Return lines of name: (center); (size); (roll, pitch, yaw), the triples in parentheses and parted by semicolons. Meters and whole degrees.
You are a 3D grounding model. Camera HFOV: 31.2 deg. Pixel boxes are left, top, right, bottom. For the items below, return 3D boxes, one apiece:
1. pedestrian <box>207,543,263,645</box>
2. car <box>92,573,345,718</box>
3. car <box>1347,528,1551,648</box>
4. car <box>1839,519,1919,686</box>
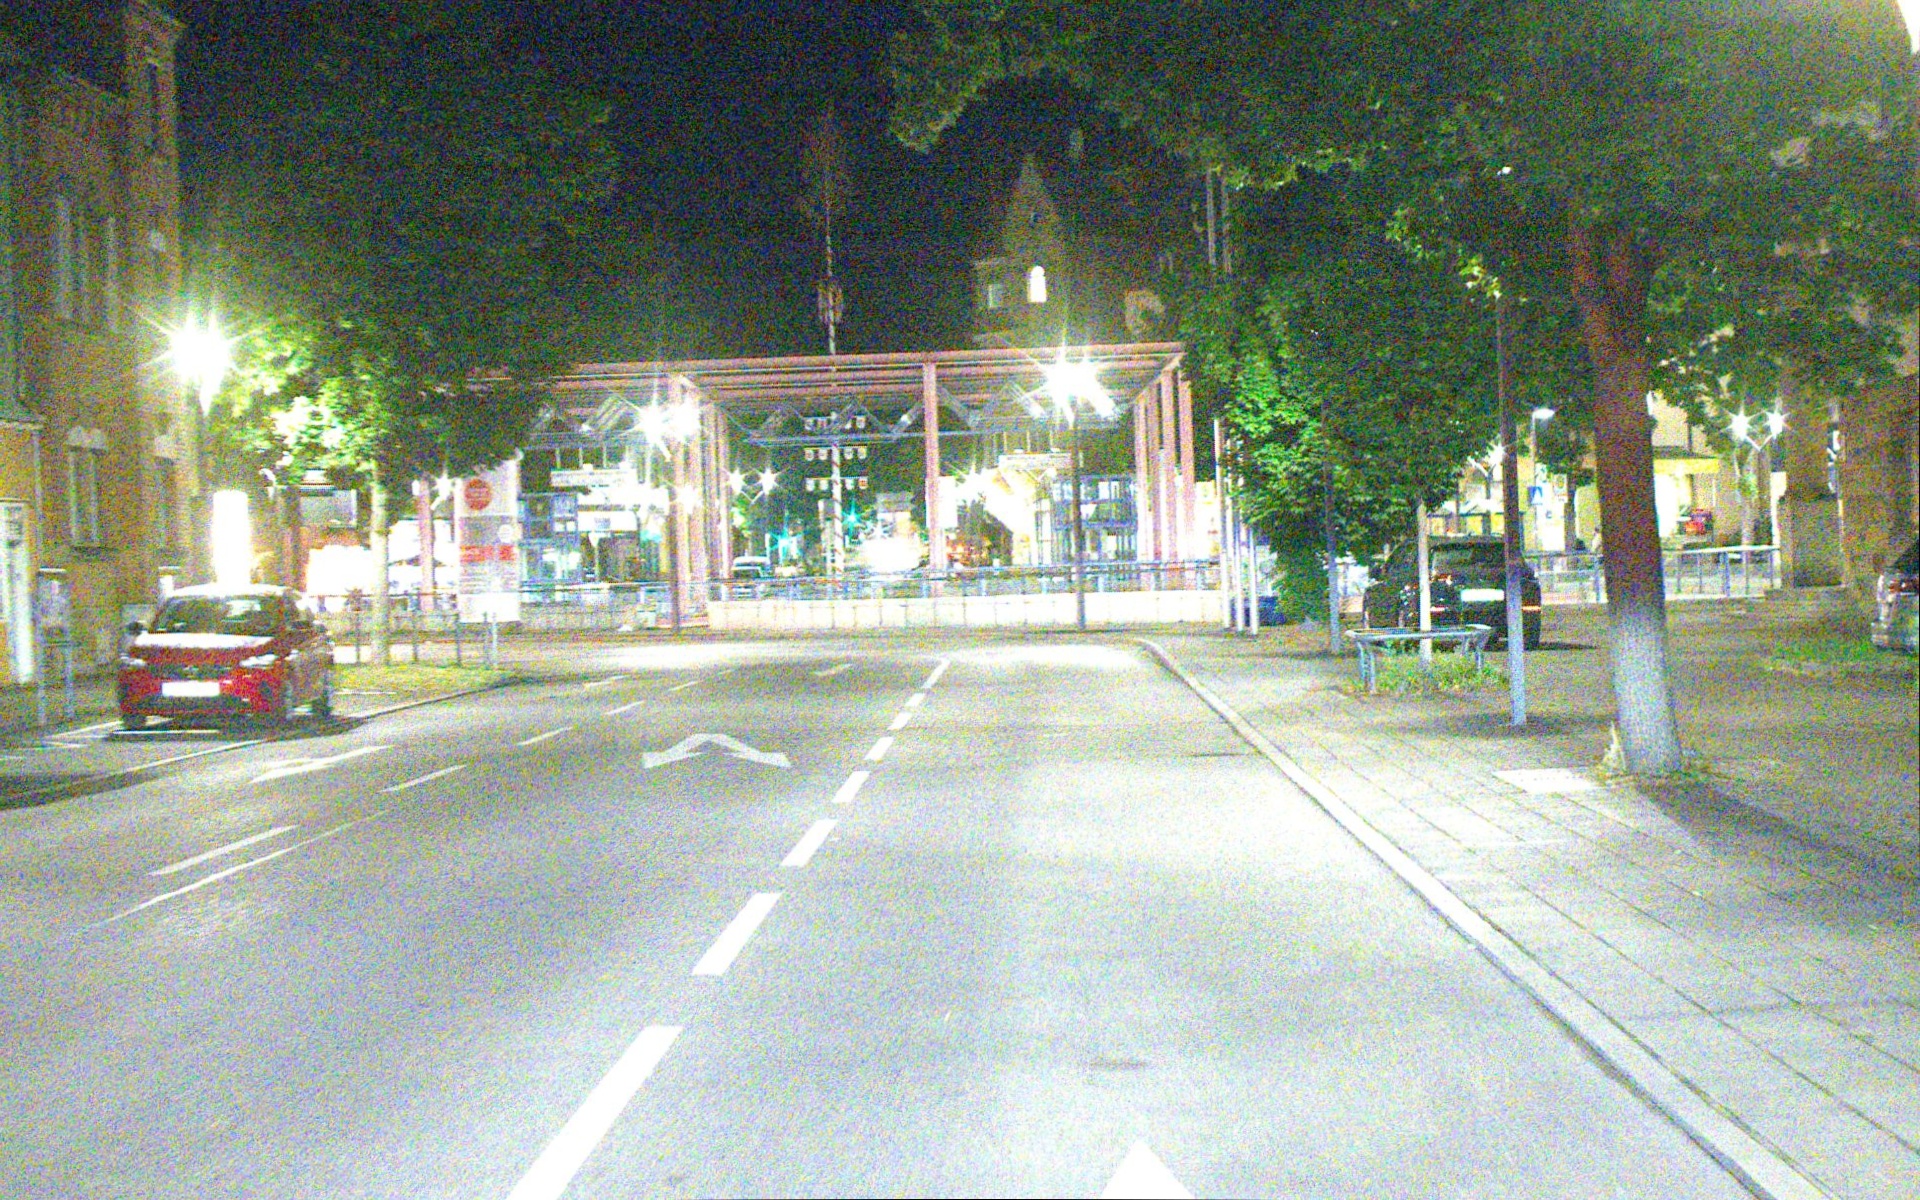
pedestrian: (-13.015, -0.095, 61.724); (0.724, 1.815, 0.692); (1, -1, -45)
car: (-7.721, 0.435, 36.159); (1.784, 1.411, 4.127); (0, 1, 0)
car: (6.266, -0.170, 44.537); (1.733, 1.454, 4.728); (-1, 1, -3)
car: (10.371, -0.053, 31.139); (4.428, 1.454, 1.789); (-2, 1, 7)
